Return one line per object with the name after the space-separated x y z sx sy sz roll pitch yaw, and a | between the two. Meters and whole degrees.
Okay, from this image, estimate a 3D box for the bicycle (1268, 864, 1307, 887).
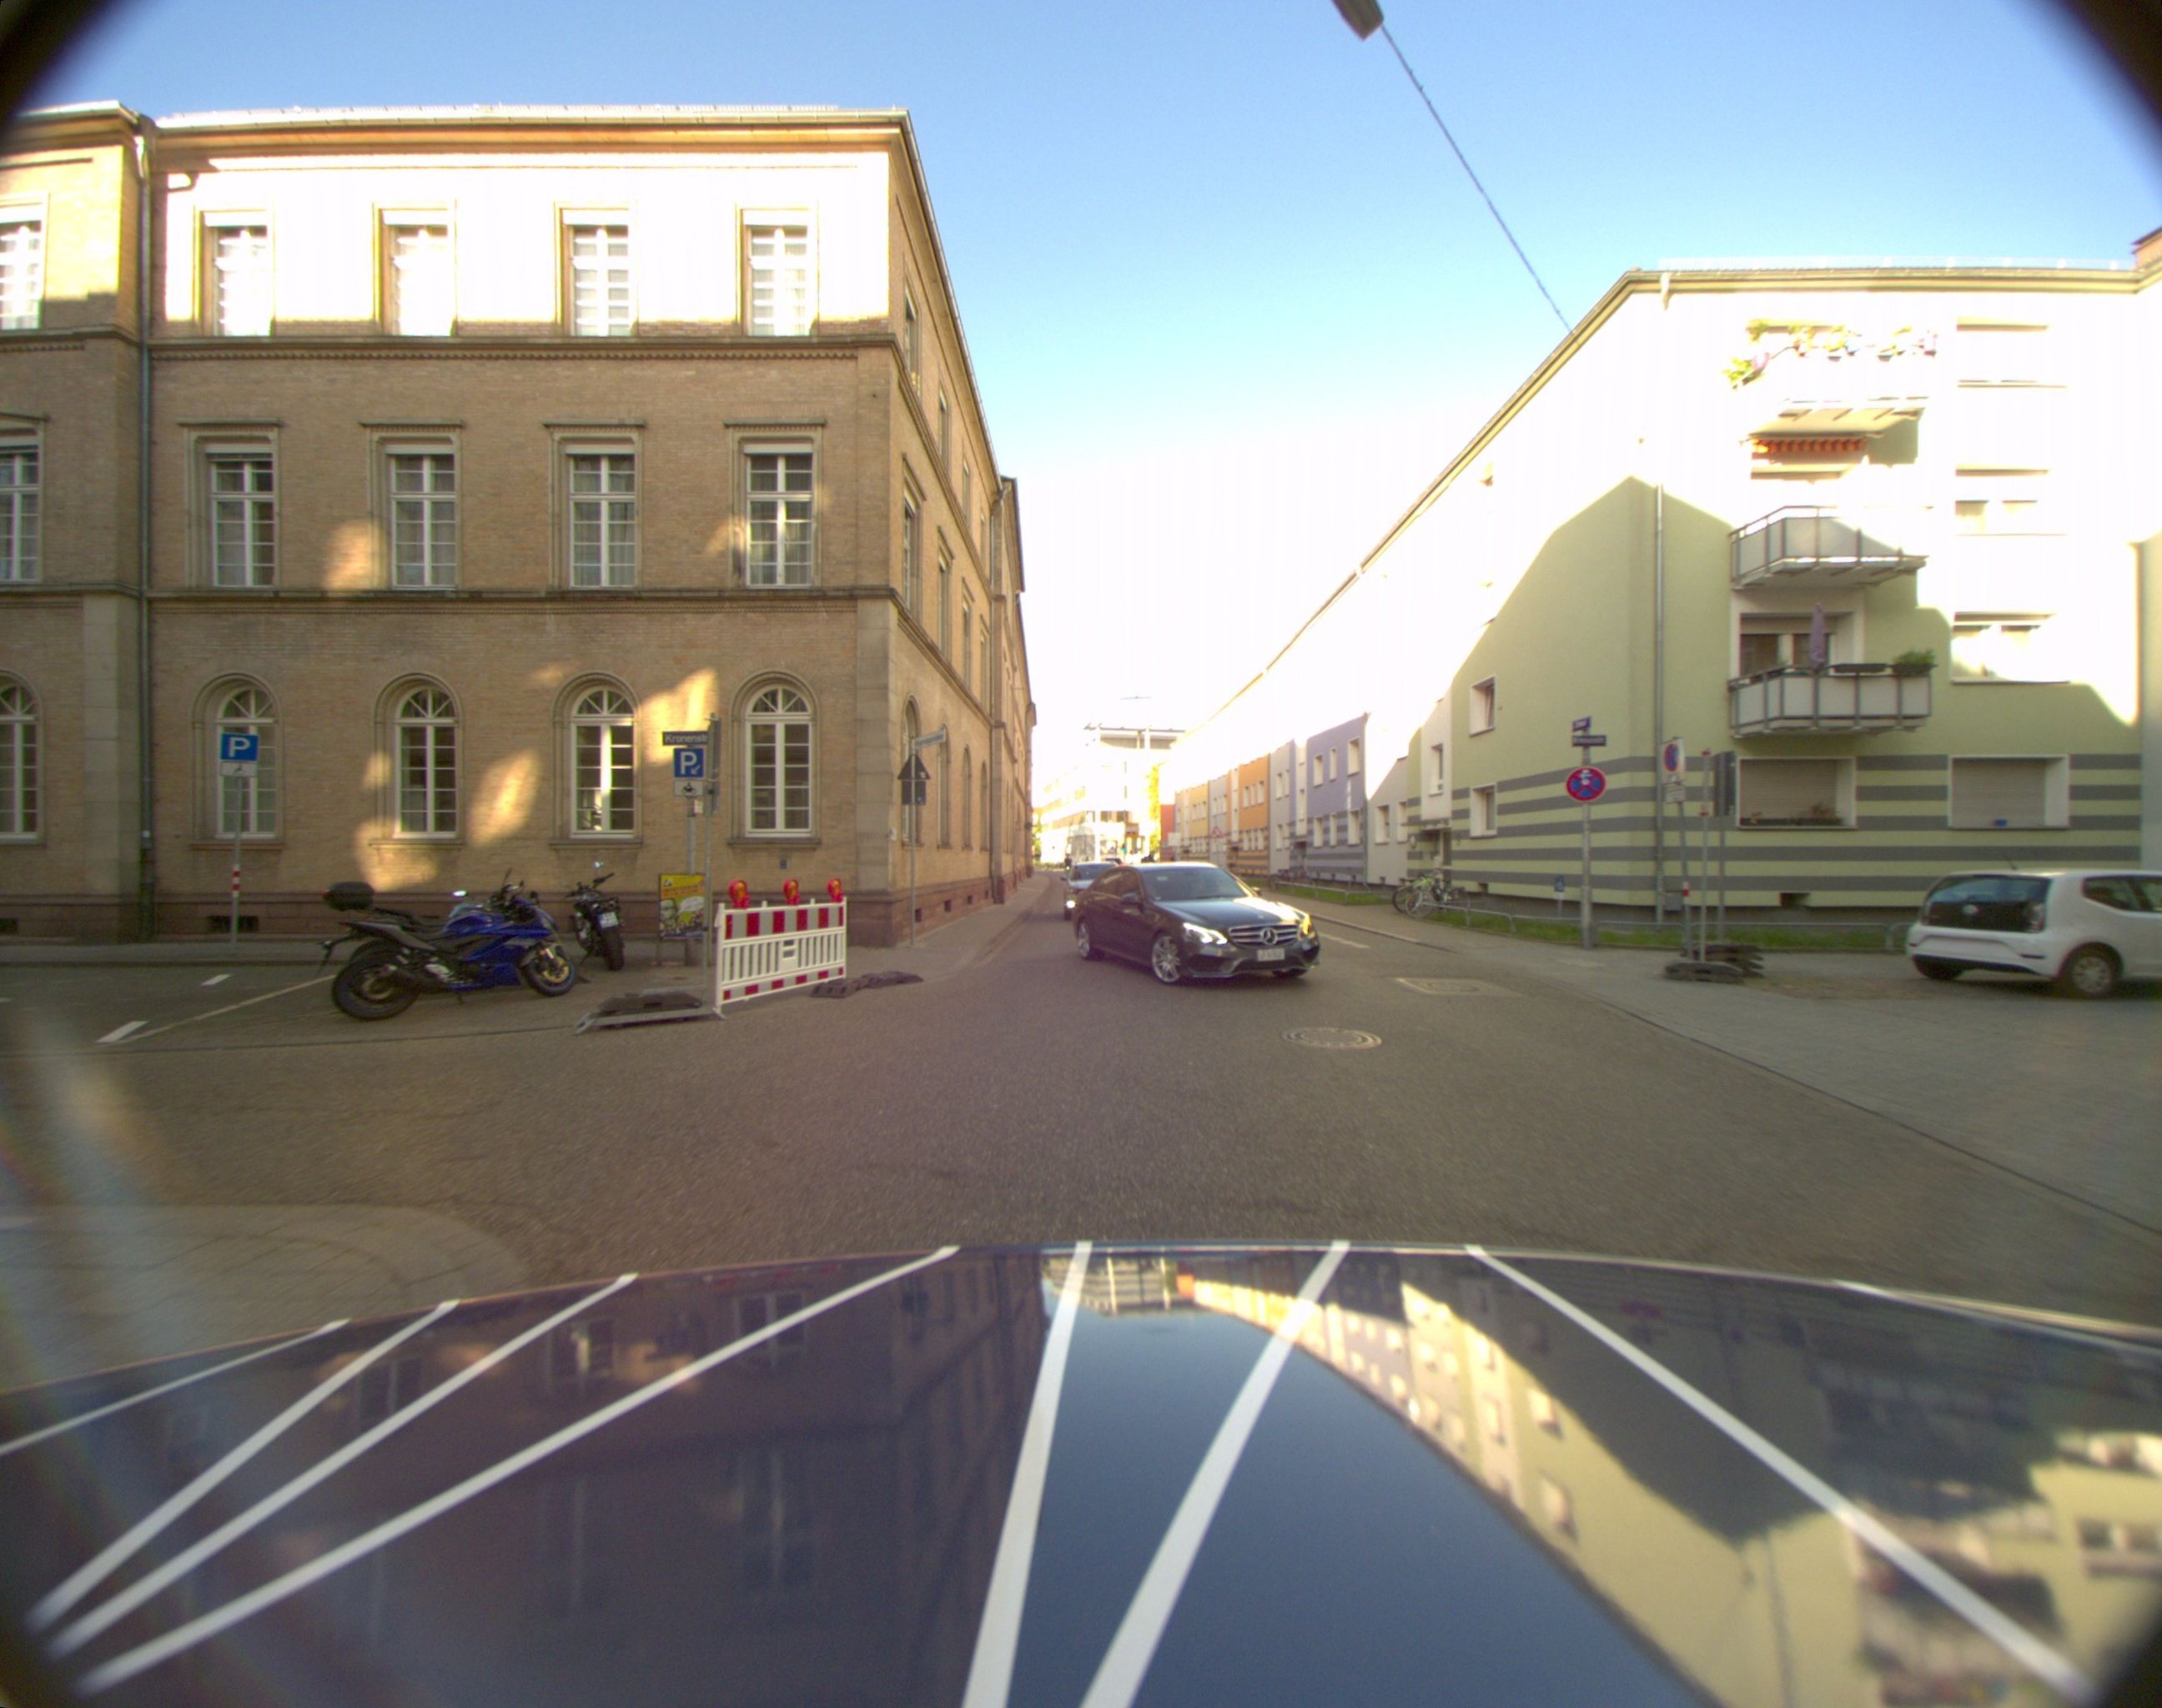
9.624 0.990 35.460 1.657 0.940 0.388 -4 0 1 | bicycle

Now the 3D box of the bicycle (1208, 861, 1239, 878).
9.360 1.007 49.833 1.807 0.977 0.654 -5 1 -3 | bicycle

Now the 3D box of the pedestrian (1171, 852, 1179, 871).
8.199 0.656 66.057 0.612 1.641 0.447 0 1 -5 | pedestrian

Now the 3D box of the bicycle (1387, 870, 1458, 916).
9.270 1.050 20.635 1.738 1.094 0.388 -4 0 -6 | bicycle

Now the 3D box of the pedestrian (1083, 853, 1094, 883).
0.450 0.816 44.680 0.603 1.770 0.652 -1 0 0 | pedestrian

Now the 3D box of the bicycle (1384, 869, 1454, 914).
9.355 1.037 21.038 1.738 1.094 0.388 -4 0 -6 | bicycle

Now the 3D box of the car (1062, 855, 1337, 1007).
1.265 0.894 10.425 1.788 1.470 4.665 -4 -1 -17 | car

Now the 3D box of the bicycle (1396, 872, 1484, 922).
9.050 1.064 19.203 1.820 1.094 0.749 -4 0 1 | bicycle

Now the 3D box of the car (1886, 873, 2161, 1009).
12.320 0.974 9.201 3.342 1.428 1.725 0 0 0 | car

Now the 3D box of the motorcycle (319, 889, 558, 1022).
-7.120 1.046 8.497 0.827 1.217 1.958 0 1 45 | motorcycle

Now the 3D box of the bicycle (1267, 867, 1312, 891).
9.074 1.087 33.115 1.802 0.940 0.388 -4 0 1 | bicycle

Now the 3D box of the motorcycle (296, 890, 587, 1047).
-6.358 1.050 7.675 0.872 1.218 2.154 3 3 45 | motorcycle

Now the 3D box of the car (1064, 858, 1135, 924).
0.495 0.942 21.251 1.682 1.568 4.243 -3 0 1 | car

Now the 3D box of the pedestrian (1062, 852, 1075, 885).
-0.735 0.869 44.808 0.677 1.928 0.858 -1 0 0 | pedestrian

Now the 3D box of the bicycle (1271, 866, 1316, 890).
9.452 1.067 33.802 1.802 0.940 0.388 -4 0 1 | bicycle

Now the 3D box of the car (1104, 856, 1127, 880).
2.810 1.118 62.316 1.682 1.776 4.243 -3 0 1 | car

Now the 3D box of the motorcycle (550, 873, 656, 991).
-6.298 0.948 9.959 2.073 1.325 0.708 1 1 45 | motorcycle

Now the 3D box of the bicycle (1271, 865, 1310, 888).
9.664 1.047 35.054 1.657 0.940 0.388 -4 0 1 | bicycle

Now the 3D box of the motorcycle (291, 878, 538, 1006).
-7.956 0.975 9.167 0.827 1.280 2.149 0 1 45 | motorcycle
